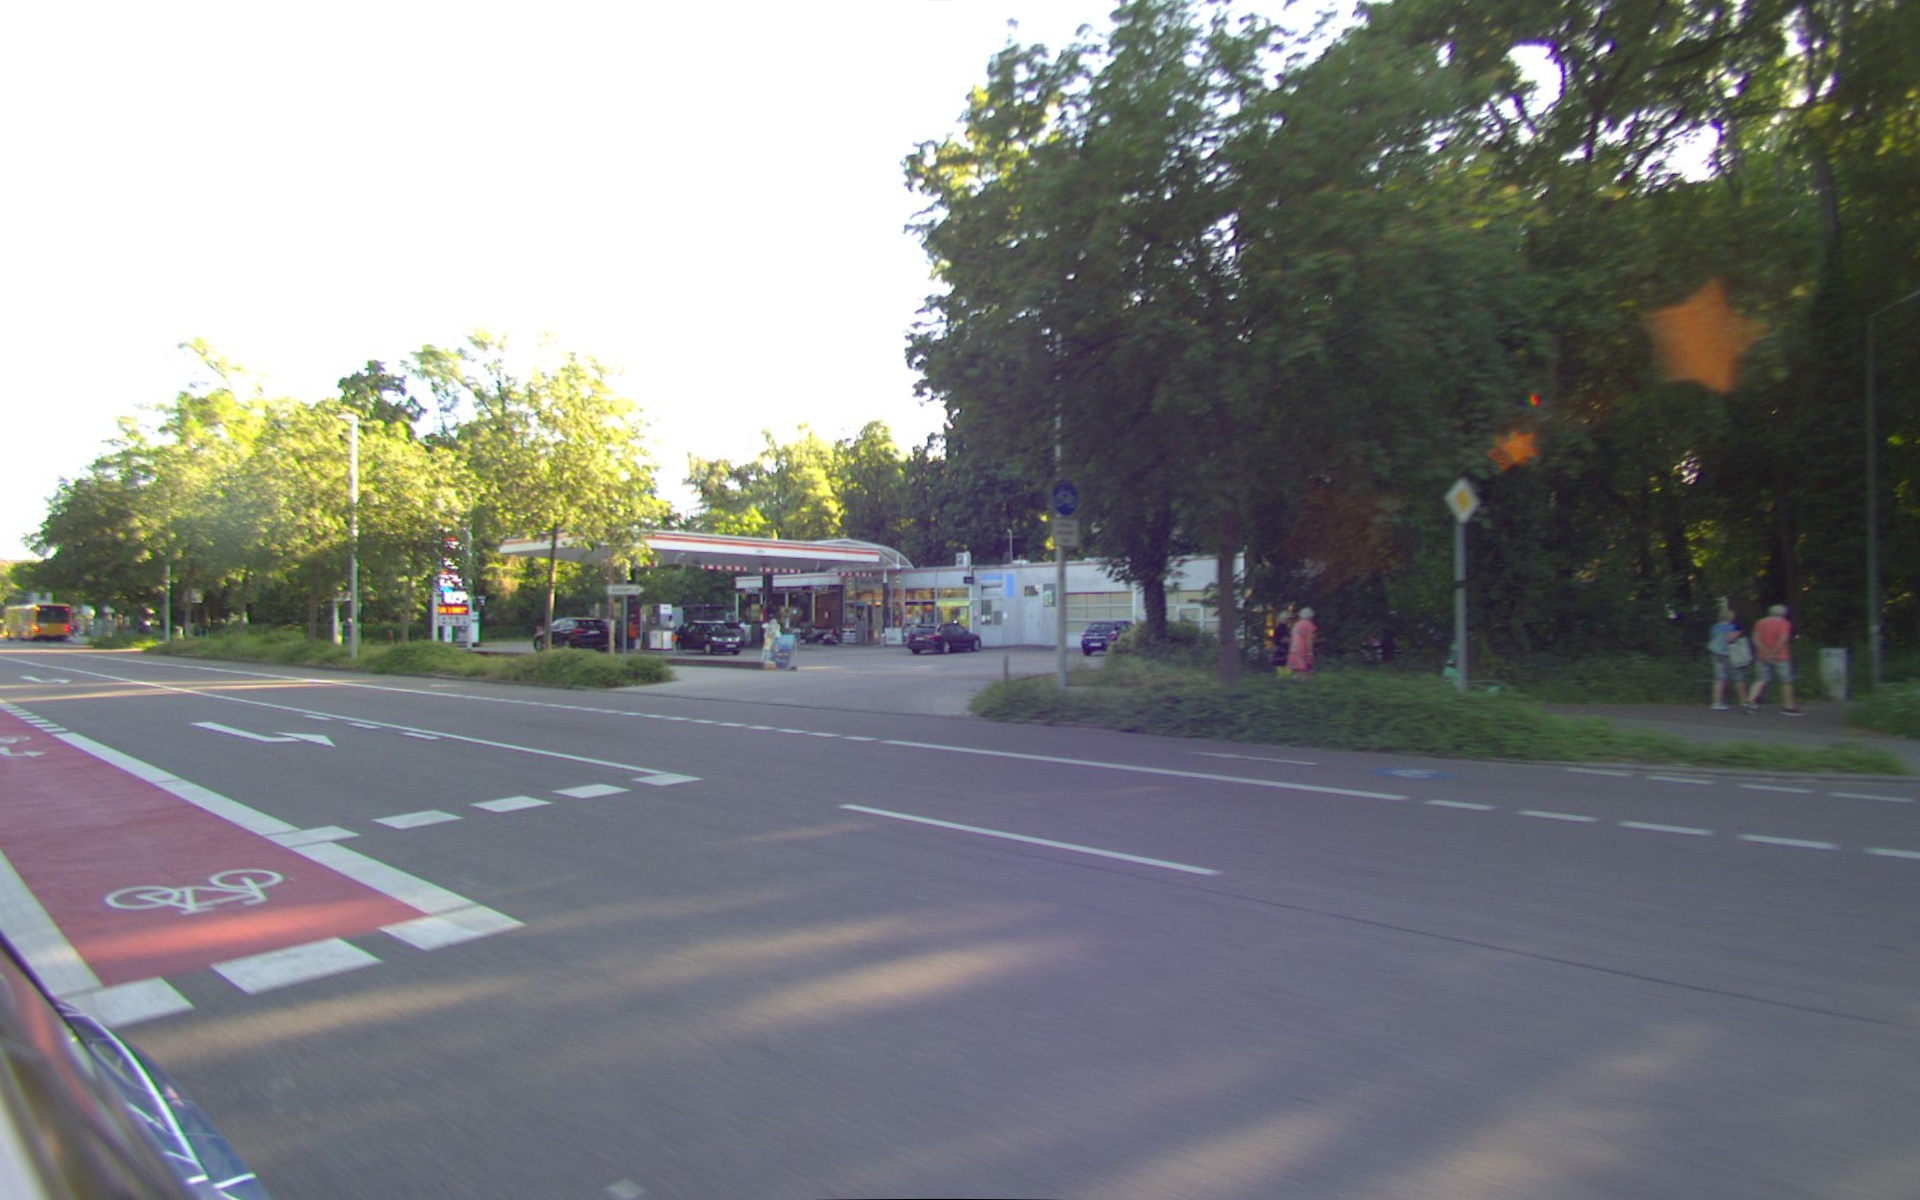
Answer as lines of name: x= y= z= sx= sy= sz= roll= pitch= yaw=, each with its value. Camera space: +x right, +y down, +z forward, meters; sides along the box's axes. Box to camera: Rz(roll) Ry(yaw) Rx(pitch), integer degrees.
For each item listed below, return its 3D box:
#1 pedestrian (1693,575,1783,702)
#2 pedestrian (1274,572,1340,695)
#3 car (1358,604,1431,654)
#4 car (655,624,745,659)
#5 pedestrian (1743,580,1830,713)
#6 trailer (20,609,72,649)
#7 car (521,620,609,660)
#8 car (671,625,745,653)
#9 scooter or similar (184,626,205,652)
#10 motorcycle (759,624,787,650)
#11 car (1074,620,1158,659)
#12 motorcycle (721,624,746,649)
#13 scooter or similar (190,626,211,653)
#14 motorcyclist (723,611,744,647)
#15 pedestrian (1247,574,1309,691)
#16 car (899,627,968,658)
pedestrian: x=12.795 y=0.624 z=16.662 sx=0.707 sy=2.029 sz=0.877 roll=0 pitch=-2 yaw=-18
pedestrian: x=5.895 y=0.562 z=17.222 sx=0.707 sy=2.029 sz=0.799 roll=0 pitch=-1 yaw=-16
car: x=18.280 y=1.201 z=42.471 sx=1.996 sy=1.996 sz=3.952 roll=-1 pitch=-2 yaw=36
car: x=-11.834 y=1.873 z=45.971 sx=4.575 sy=1.509 sz=1.693 roll=-2 pitch=-2 yaw=41
pedestrian: x=13.011 y=0.716 z=15.944 sx=0.707 sy=2.029 sz=0.749 roll=0 pitch=-2 yaw=-18
trailer: x=-82.781 y=2.578 z=91.566 sx=9.365 sy=3.380 sz=2.823 roll=-1 pitch=0 yaw=44
car: x=-17.988 y=1.795 z=46.002 sx=4.447 sy=1.704 sz=1.694 roll=-1 pitch=-2 yaw=38
car: x=-13.101 y=2.012 z=52.563 sx=4.057 sy=1.386 sz=1.693 roll=-2 pitch=-2 yaw=41
scooter or similar: x=-51.705 y=2.639 z=68.373 sx=1.741 sy=1.730 sz=0.818 roll=-2 pitch=-2 yaw=43
motorcycle: x=-10.974 y=2.150 z=59.355 sx=1.115 sy=1.462 sz=2.755 roll=0 pitch=-1 yaw=-22
car: x=6.673 y=1.637 z=42.991 sx=1.895 sy=1.567 sz=3.950 roll=-2 pitch=-2 yaw=36
motorcycle: x=-13.836 y=2.220 z=61.908 sx=1.117 sy=1.462 sz=2.509 roll=0 pitch=-1 yaw=-5
scooter or similar: x=-50.304 y=2.609 z=67.026 sx=1.741 sy=1.730 sz=0.818 roll=-2 pitch=-2 yaw=43
motorcyclist: x=-13.825 y=1.770 z=61.800 sx=1.107 sy=2.199 sz=1.017 roll=0 pitch=-1 yaw=-4
pedestrian: x=5.656 y=0.565 z=18.013 sx=0.707 sy=2.029 sz=0.799 roll=0 pitch=-1 yaw=-16
car: x=-1.178 y=1.943 z=46.998 sx=1.707 sy=1.364 sz=3.600 roll=-1 pitch=-2 yaw=27
